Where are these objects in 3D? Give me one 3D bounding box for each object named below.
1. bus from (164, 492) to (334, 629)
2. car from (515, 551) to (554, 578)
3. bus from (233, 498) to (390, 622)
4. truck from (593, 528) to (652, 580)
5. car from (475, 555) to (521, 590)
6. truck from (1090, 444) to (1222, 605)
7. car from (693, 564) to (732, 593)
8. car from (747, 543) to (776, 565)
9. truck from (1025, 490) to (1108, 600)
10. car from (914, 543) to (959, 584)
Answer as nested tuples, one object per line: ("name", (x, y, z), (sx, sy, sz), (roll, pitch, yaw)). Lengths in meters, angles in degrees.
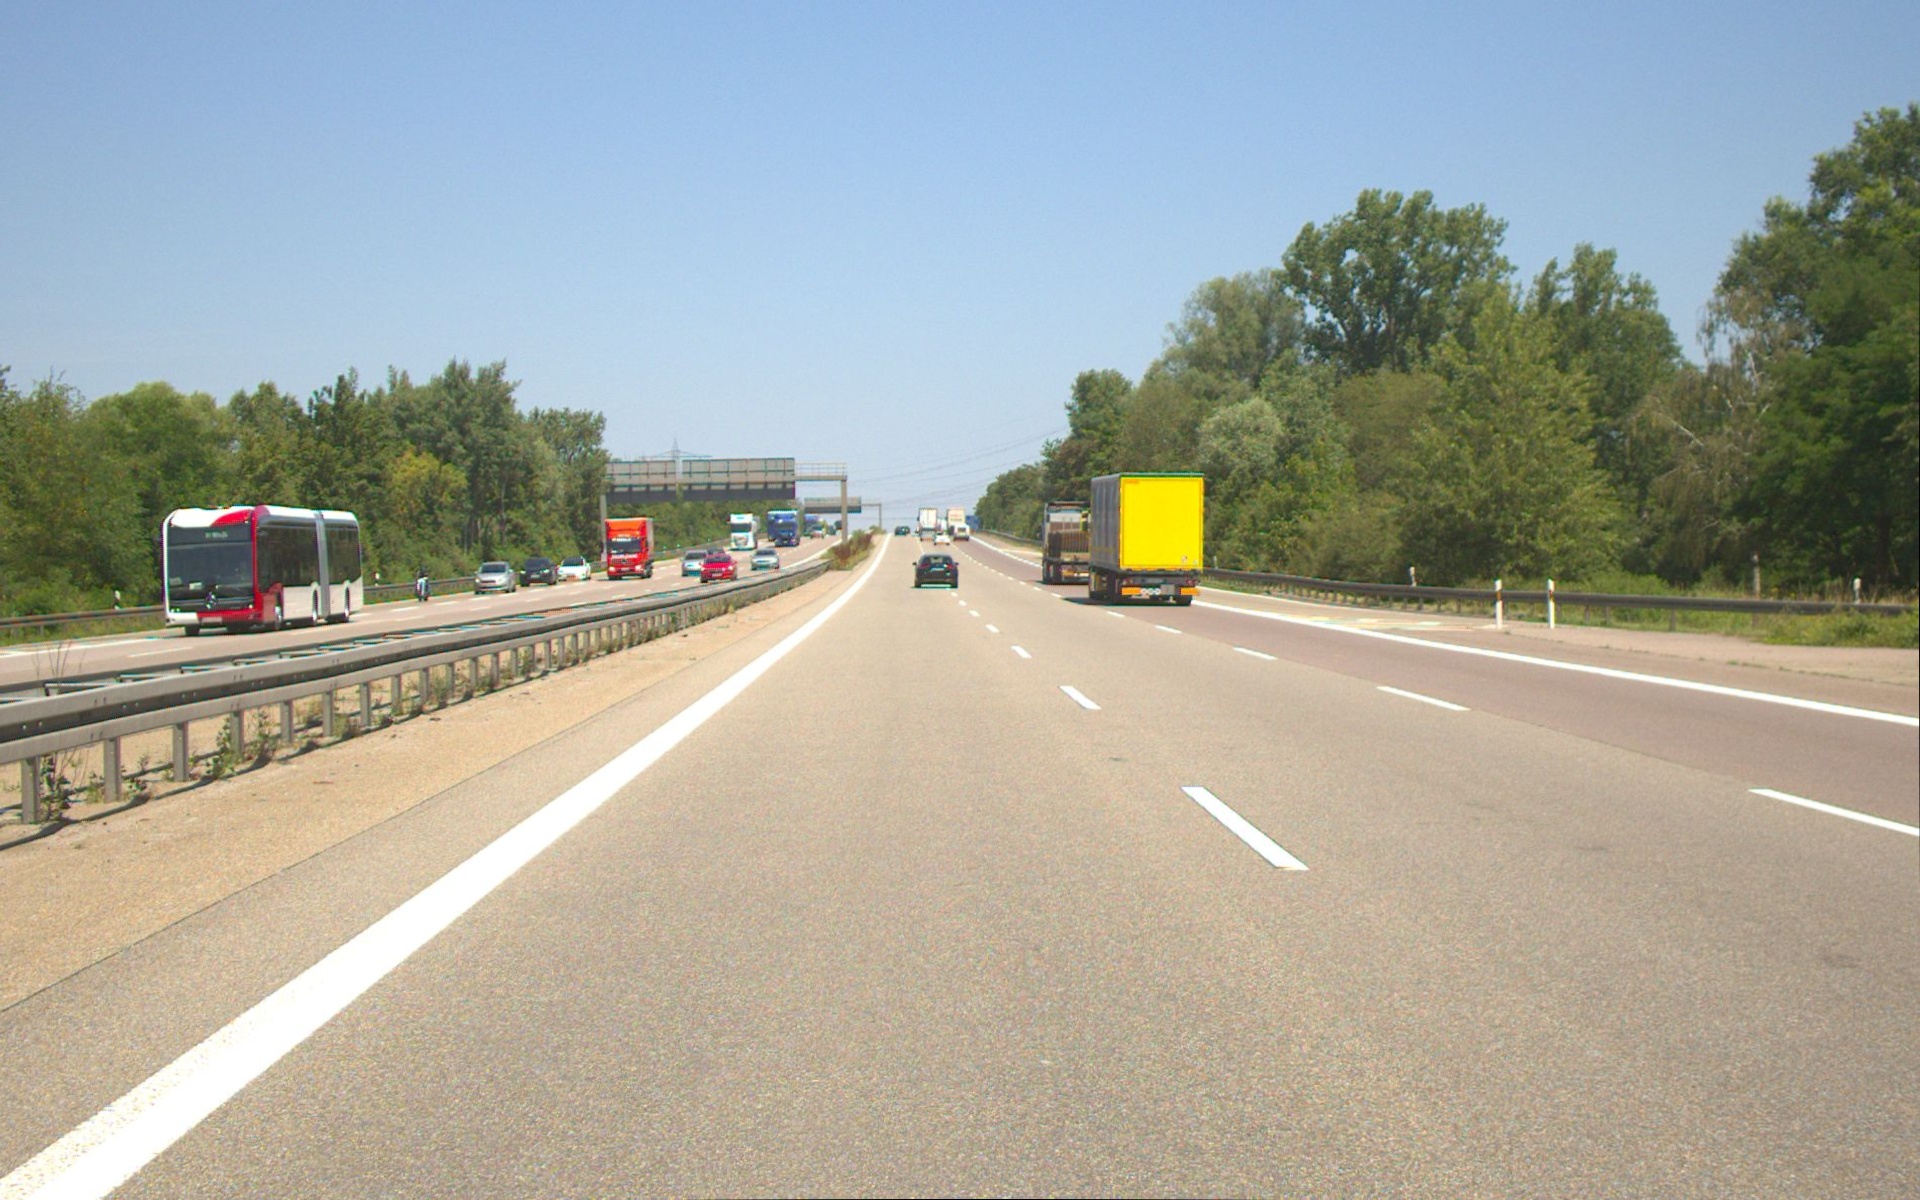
("bus", (-19.013, -1.066, 92.469), (2.763, 3.435, 8.932), (-1, 1, -1))
("car", (-24.789, -2.073, 200.499), (1.808, 1.498, 4.000), (-1, 1, -1))
("bus", (-19.126, -1.193, 101.983), (2.763, 3.435, 10.146), (-1, 1, -1))
("truck", (-21.275, -2.919, 217.200), (2.597, 3.201, 12.125), (1, 1, -1))
("car", (-23.425, -1.410, 174.404), (1.808, 1.766, 4.000), (-1, 1, -1))
("truck", (6.218, -2.388, 111.838), (3.377, 4.864, 15.086), (1, 1, 0))
("car", (-12.887, -1.132, 179.216), (1.808, 1.498, 4.000), (-1, 1, -1))
("car", (-13.620, -3.163, 235.867), (1.808, 1.498, 4.000), (-1, 1, -1))
("truck", (4.889, -2.568, 160.753), (3.367, 4.864, 15.086), (1, 1, 0))
("car", (-0.994, -1.543, 145.907), (1.827, 1.700, 4.000), (1, 1, -1))
